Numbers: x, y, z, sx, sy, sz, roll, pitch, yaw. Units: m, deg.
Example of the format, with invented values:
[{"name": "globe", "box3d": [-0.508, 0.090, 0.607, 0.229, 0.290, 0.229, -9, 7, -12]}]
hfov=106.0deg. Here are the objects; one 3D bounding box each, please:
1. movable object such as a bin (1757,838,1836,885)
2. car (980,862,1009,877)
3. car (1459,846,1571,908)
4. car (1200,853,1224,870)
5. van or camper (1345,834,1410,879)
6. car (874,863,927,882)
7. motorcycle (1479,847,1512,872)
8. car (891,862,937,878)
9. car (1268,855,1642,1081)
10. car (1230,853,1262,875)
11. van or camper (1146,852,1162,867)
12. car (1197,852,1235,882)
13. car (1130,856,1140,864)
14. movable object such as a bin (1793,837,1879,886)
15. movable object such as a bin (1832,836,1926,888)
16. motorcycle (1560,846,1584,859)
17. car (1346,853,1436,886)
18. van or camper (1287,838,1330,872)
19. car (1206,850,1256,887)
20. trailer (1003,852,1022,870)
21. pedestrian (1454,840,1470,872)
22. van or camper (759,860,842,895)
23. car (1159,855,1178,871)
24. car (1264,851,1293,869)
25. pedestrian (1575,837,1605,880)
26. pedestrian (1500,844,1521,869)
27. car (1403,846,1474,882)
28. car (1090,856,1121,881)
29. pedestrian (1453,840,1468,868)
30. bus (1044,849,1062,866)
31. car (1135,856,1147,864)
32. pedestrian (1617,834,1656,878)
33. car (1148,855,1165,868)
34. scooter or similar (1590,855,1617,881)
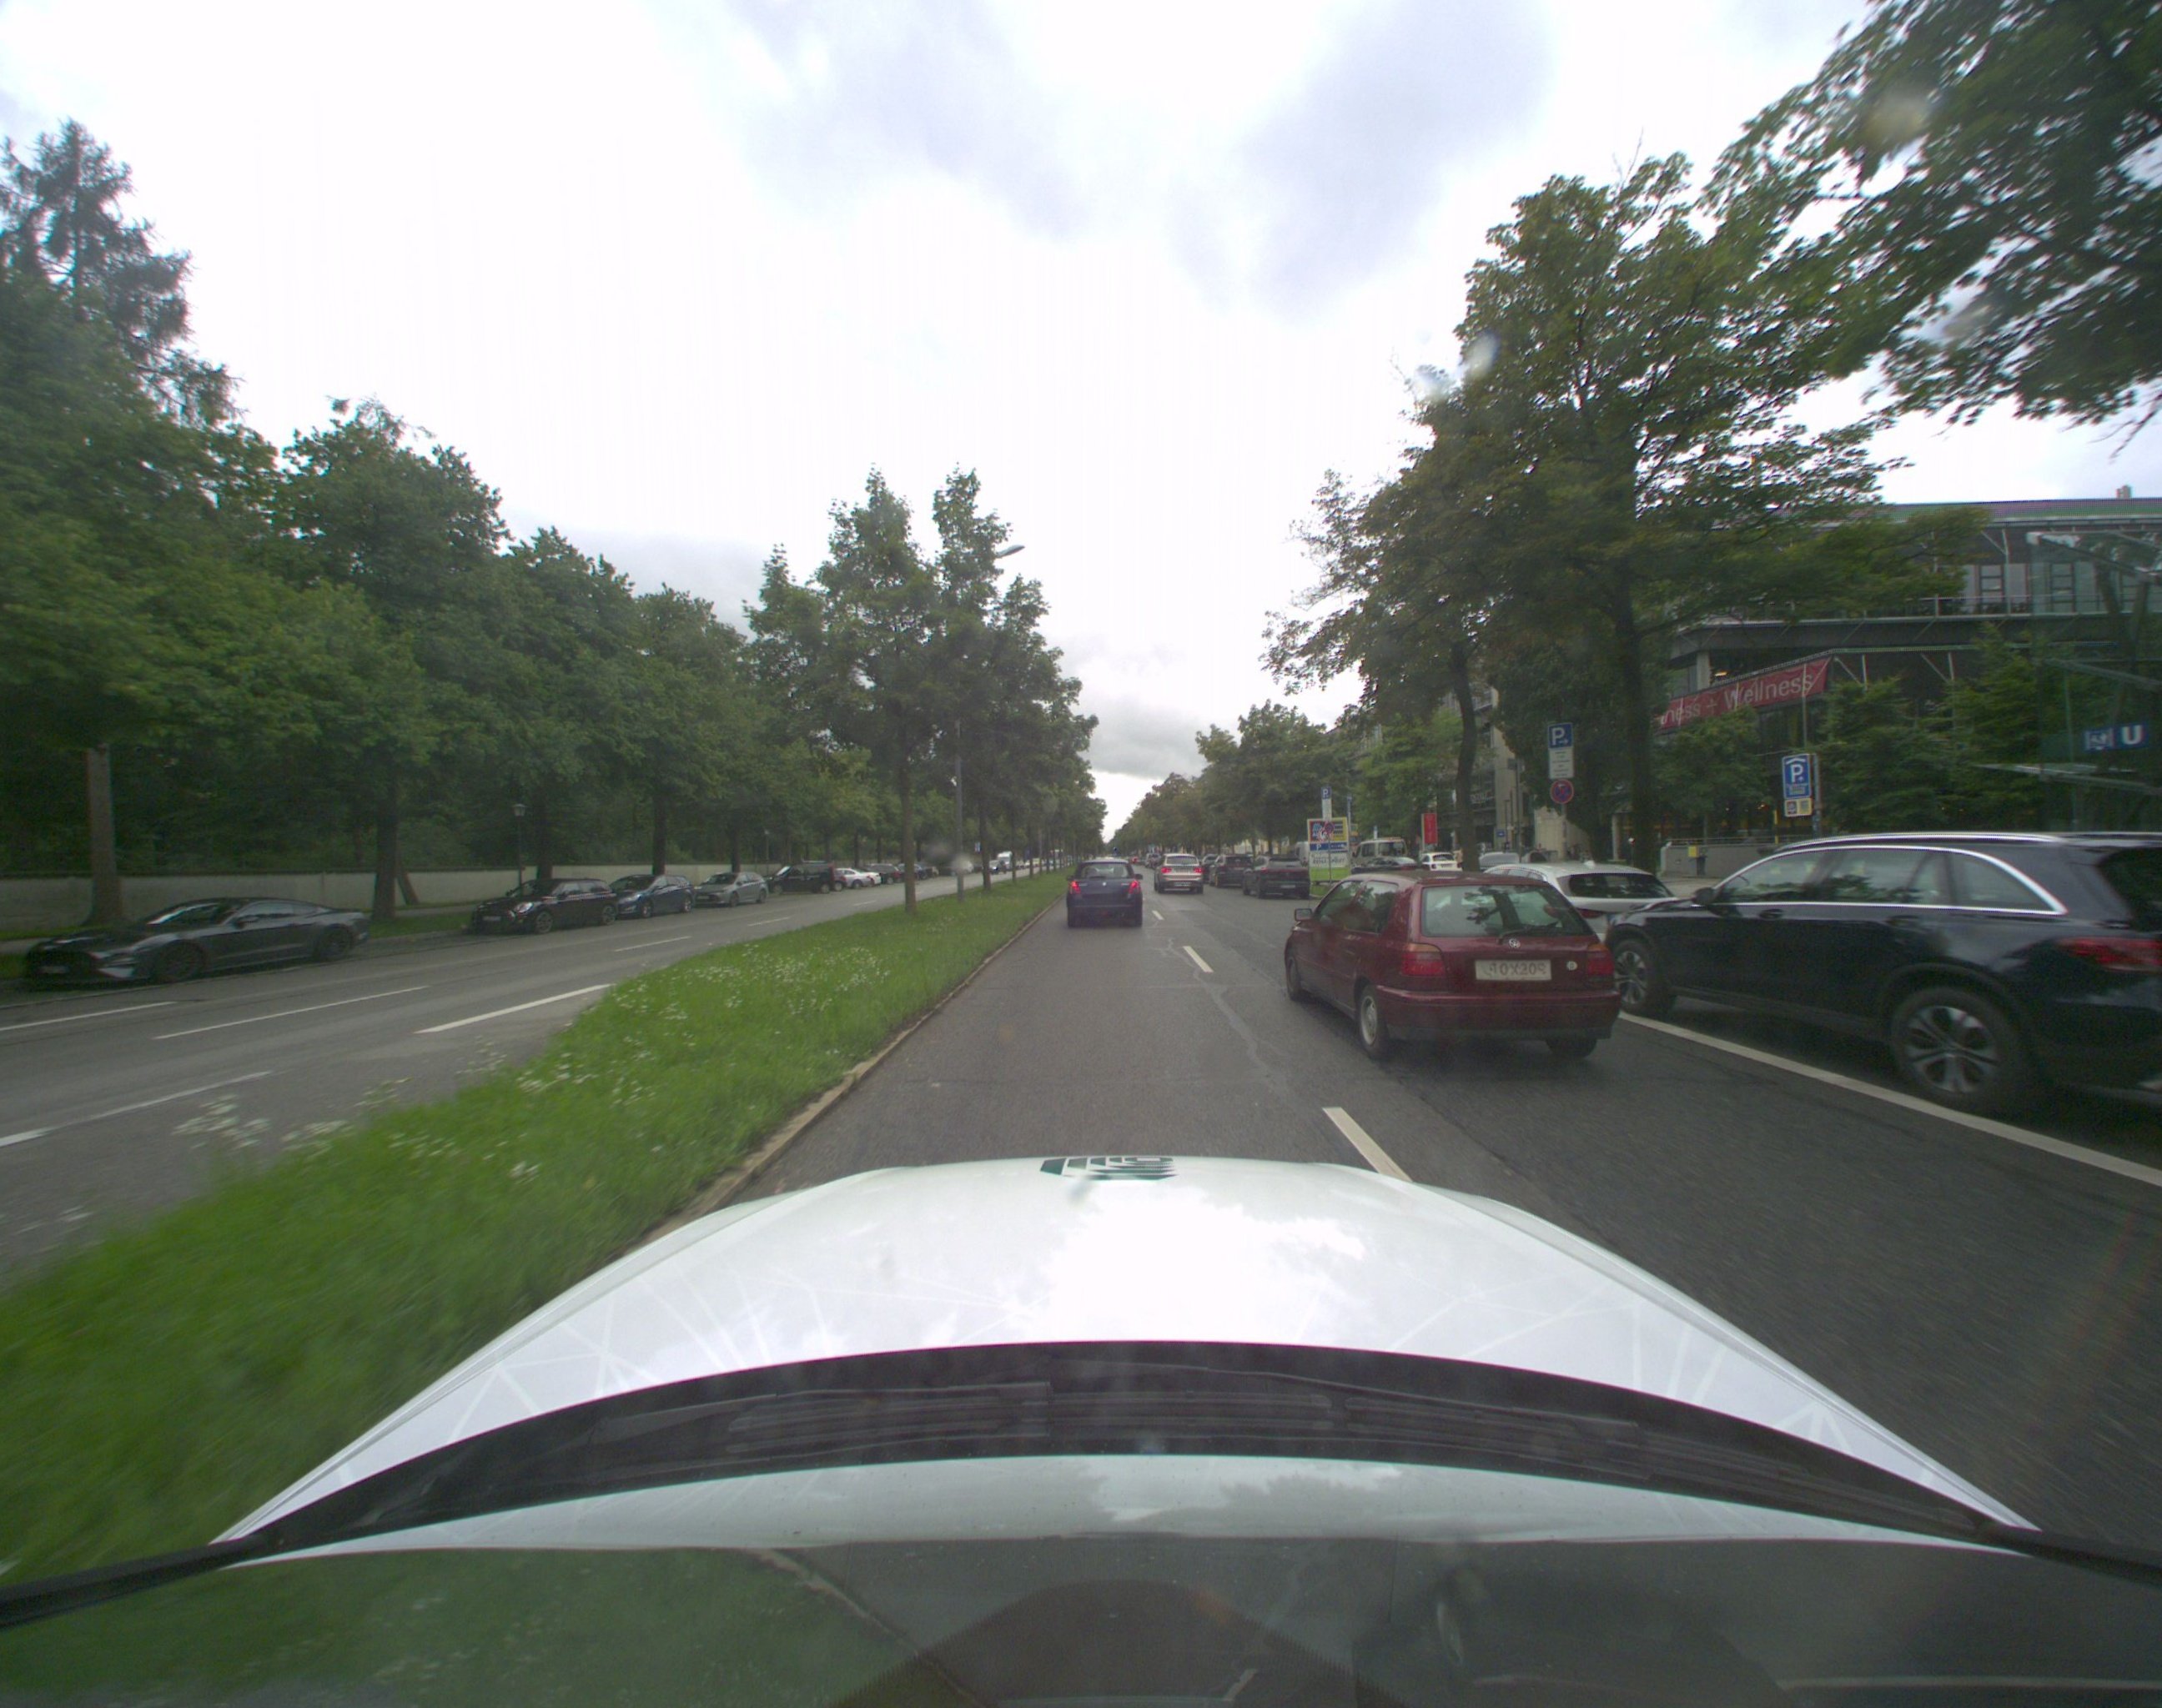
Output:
[{"name": "movable object such as a bin", "box3d": [22.543, 0.226, 25.688, 1.332, 1.409, 1.314, -2, 0, 0]}, {"name": "car", "box3d": [-9.785, 1.793, 92.455, 1.899, 1.542, 4.205, -2, 0, 15]}, {"name": "car", "box3d": [12.728, 0.595, 23.721, 1.948, 1.625, 4.877, -1, 0, 39]}, {"name": "car", "box3d": [13.090, 0.720, 81.480, 1.678, 1.632, 4.782, -1, 0, 2]}, {"name": "van or camper", "box3d": [17.966, 0.154, 49.682, 1.986, 2.558, 5.959, -2, 0, 2]}, {"name": "car", "box3d": [-15.884, 1.600, 71.618, 4.122, 1.470, 1.900, -2, 0, -32]}, {"name": "motorcycle", "box3d": [23.125, 0.305, 45.492, 0.693, 1.290, 2.067, -6, 0, 2]}, {"name": "car", "box3d": [-16.561, 1.567, 80.891, 4.119, 1.501, 1.901, -2, 0, -29]}, {"name": "car", "box3d": [2.925, 0.756, 7.360, 1.616, 1.454, 3.951, -1, 0, 1]}, {"name": "car", "box3d": [12.268, 0.724, 60.684, 1.677, 1.585, 4.011, -1, 0, 2]}, {"name": "van or camper", "box3d": [9.844, 0.744, 110.005, 1.937, 1.975, 4.309, -1, 0, 3]}, {"name": "car", "box3d": [7.708, 0.720, 46.849, 1.714, 1.651, 4.393, -1, 0, 3]}, {"name": "car", "box3d": [10.754, 1.242, 162.195, 1.844, 1.447, 4.097, -1, 0, 0]}, {"name": "movable object such as a bin", "box3d": [22.519, 0.223, 24.338, 1.332, 1.409, 1.314, -2, 0, 0]}, {"name": "movable object such as a bin", "box3d": [22.487, 0.221, 22.990, 1.332, 1.409, 1.314, -2, 0, 0]}, {"name": "motorcycle", "box3d": [33.315, -0.081, 55.292, 0.847, 0.865, 1.572, -2, 0, 9]}, {"name": "car", "box3d": [15.083, 0.743, 39.981, 1.686, 1.454, 4.816, -1, 0, -14]}, {"name": "van or camper", "box3d": [18.439, 0.102, 66.217, 2.016, 2.558, 5.959, -2, 0, 2]}, {"name": "car", "box3d": [7.416, 0.706, 40.647, 1.754, 1.701, 4.823, -1, 0, 2]}, {"name": "trailer", "box3d": [-10.416, 1.061, 124.231, 2.098, 2.540, 5.579, -2, 0, 2]}, {"name": "pedestrian", "box3d": [21.458, 0.106, 45.917, 0.572, 1.751, 0.733, -1, -1, 6]}, {"name": "van or camper", "box3d": [-16.122, 1.336, 46.862, 4.146, 1.854, 1.829, -1, 0, -39]}, {"name": "car", "box3d": [8.786, 0.875, 82.365, 1.677, 1.525, 4.459, 0, 0, 3]}, {"name": "car", "box3d": [18.899, 0.604, 77.988, 1.678, 1.632, 4.498, -1, 0, 0]}, {"name": "pedestrian", "box3d": [21.238, 0.190, 33.981, 0.536, 1.721, 0.988, -3, -1, 2]}, {"name": "pedestrian", "box3d": [23.222, 0.130, 44.025, 0.728, 1.290, 0.699, -4, -1, 6]}, {"name": "car", "box3d": [18.093, 0.492, 41.420, 1.986, 1.651, 4.002, -2, 0, 2]}, {"name": "car", "box3d": [1.516, 0.891, 52.091, 1.844, 1.447, 4.097, -1, 0, 0]}, {"name": "pedestrian", "box3d": [24.112, -0.011, 51.738, 0.572, 1.751, 0.733, -1, -1, 6]}, {"name": "bus", "box3d": [-5.919, 0.708, 174.851, 2.727, 3.377, 12.020, -3, 0, 3]}, {"name": "car", "box3d": [10.857, 1.066, 148.338, 1.844, 1.447, 4.097, -1, 0, 0]}, {"name": "pedestrian", "box3d": [22.450, 0.074, 32.919, 0.825, 1.721, 0.940, -3, -1, 2]}, {"name": "car", "box3d": [9.591, 0.919, 103.563, 1.679, 1.554, 4.304, -1, 0, -1]}, {"name": "scooter or similar", "box3d": [21.228, 0.547, 33.083, 0.498, 1.018, 0.833, -3, 0, 2]}]
